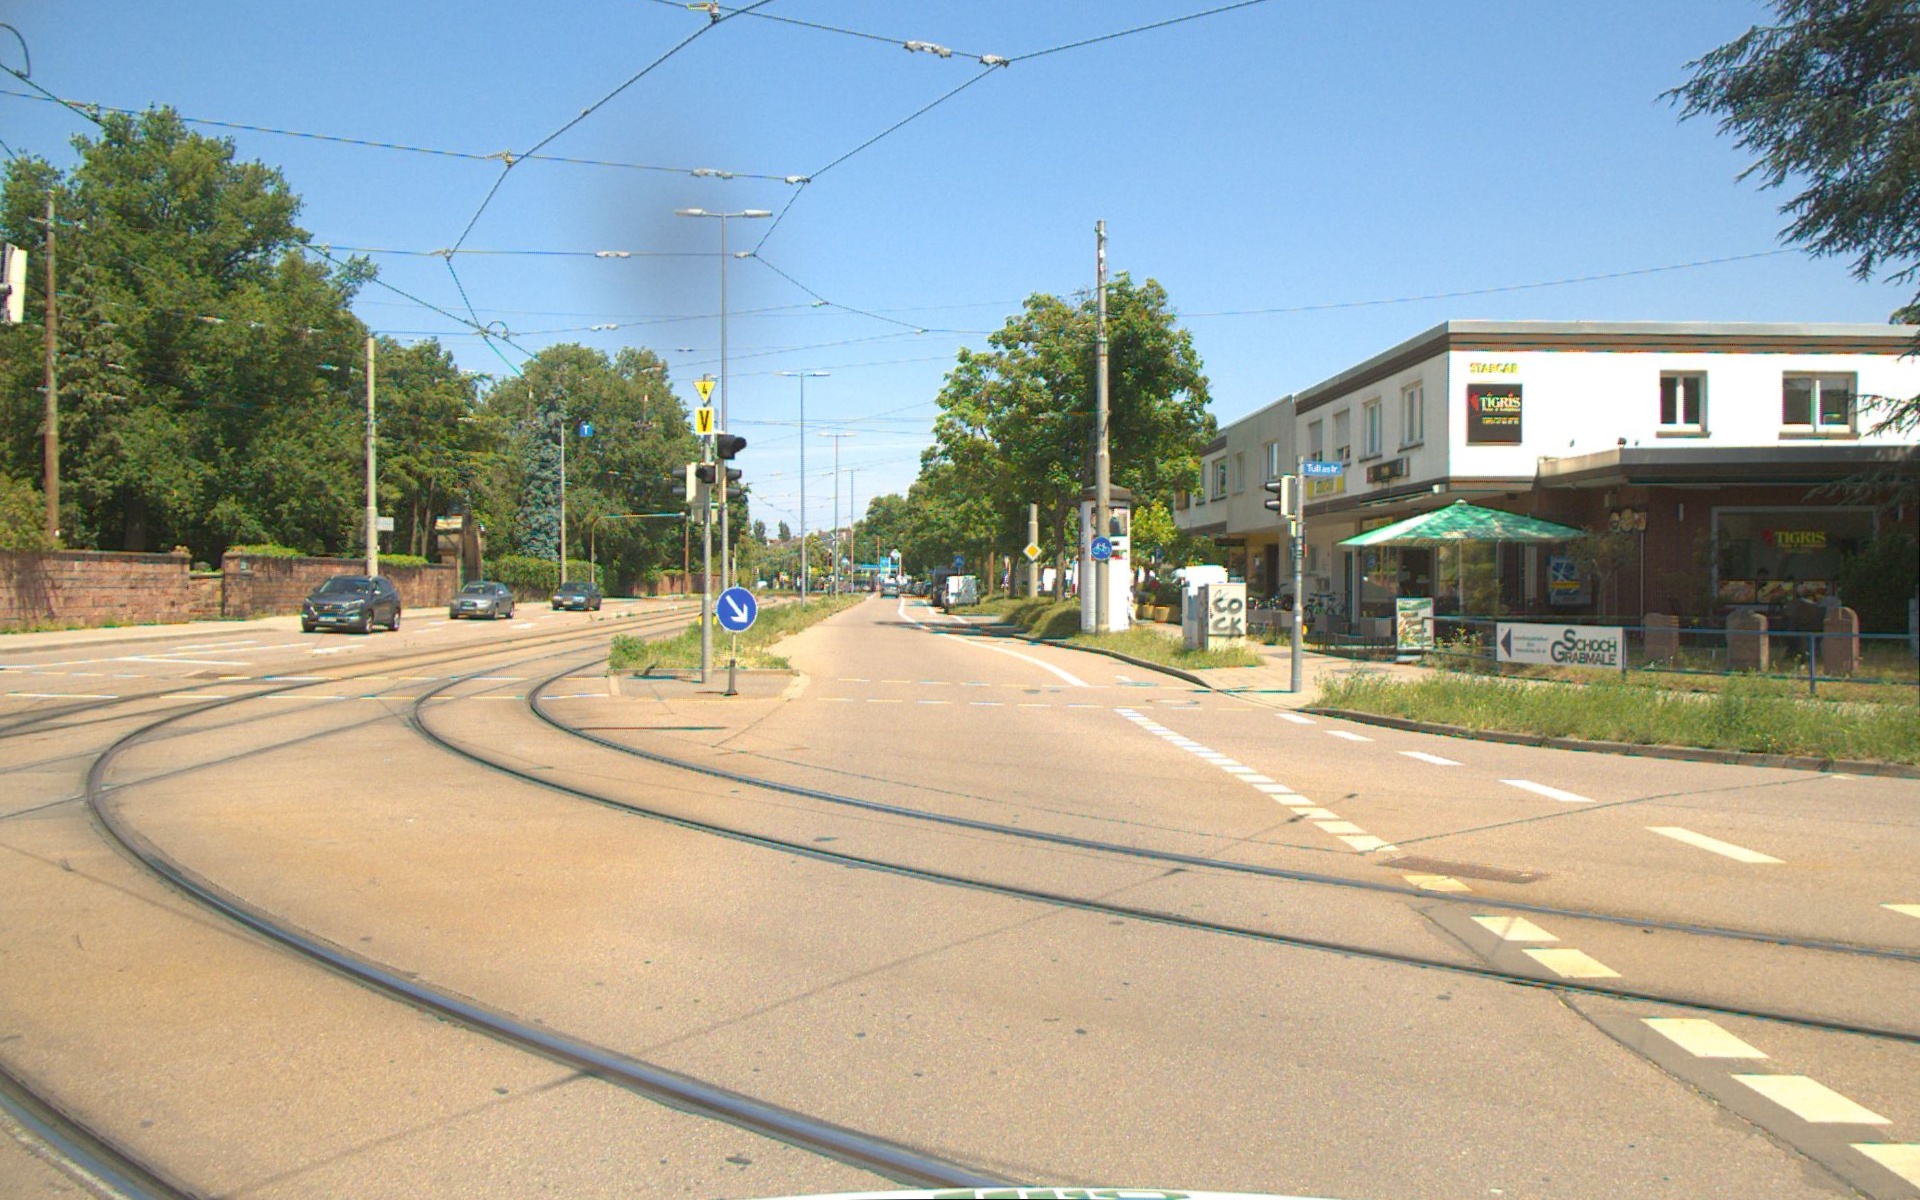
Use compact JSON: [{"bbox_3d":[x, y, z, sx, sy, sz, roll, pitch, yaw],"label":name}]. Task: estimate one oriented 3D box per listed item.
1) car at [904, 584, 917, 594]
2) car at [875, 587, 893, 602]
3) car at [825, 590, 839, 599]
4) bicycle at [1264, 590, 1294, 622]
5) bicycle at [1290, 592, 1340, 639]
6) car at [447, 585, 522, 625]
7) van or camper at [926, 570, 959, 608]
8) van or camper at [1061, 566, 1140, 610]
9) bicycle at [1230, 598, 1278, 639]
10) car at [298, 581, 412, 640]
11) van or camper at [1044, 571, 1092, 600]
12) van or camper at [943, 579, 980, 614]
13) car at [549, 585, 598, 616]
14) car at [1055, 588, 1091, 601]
[{"bbox_3d":[-6.700,-1.461,223.764,1.494,1.319,3.489,0,1,-5],"label":"car"},{"bbox_3d":[-7.336,-0.532,159.423,1.604,1.375,3.838,0,0,-5],"label":"car"},{"bbox_3d":[-14.392,-0.621,186.400,1.462,1.064,3.578,0,0,-3],"label":"car"},{"bbox_3d":[11.113,0.216,57.657,0.497,1.084,1.862,2,0,-5],"label":"bicycle"},{"bbox_3d":[9.341,0.390,43.567,0.968,1.184,2.639,0,1,5],"label":"bicycle"},{"bbox_3d":[-18.399,0.185,64.154,1.607,1.445,4.168,2,1,0],"label":"car"},{"bbox_3d":[-1.199,-0.754,111.766,1.954,2.507,3.996,0,0,-5],"label":"van or camper"},{"bbox_3d":[8.718,-0.737,102.733,4.662,2.717,2.134,0,0,-4],"label":"van or camper"},{"bbox_3d":[7.707,0.473,43.529,1.012,1.032,2.639,0,1,5],"label":"bicycle"},{"bbox_3d":[-17.861,0.275,49.052,1.783,1.631,4.519,0,1,-1],"label":"car"},{"bbox_3d":[8.297,-1.141,127.113,3.487,2.183,1.601,0,0,-4],"label":"van or camper"},{"bbox_3d":[0.067,-0.203,89.392,1.883,1.803,3.999,0,0,-1],"label":"van or camper"},{"bbox_3d":[-19.123,-0.013,81.877,1.608,1.424,4.114,2,1,-3],"label":"car"},{"bbox_3d":[8.446,-0.426,123.728,2.535,0.979,1.149,0,1,-1],"label":"car"}]
